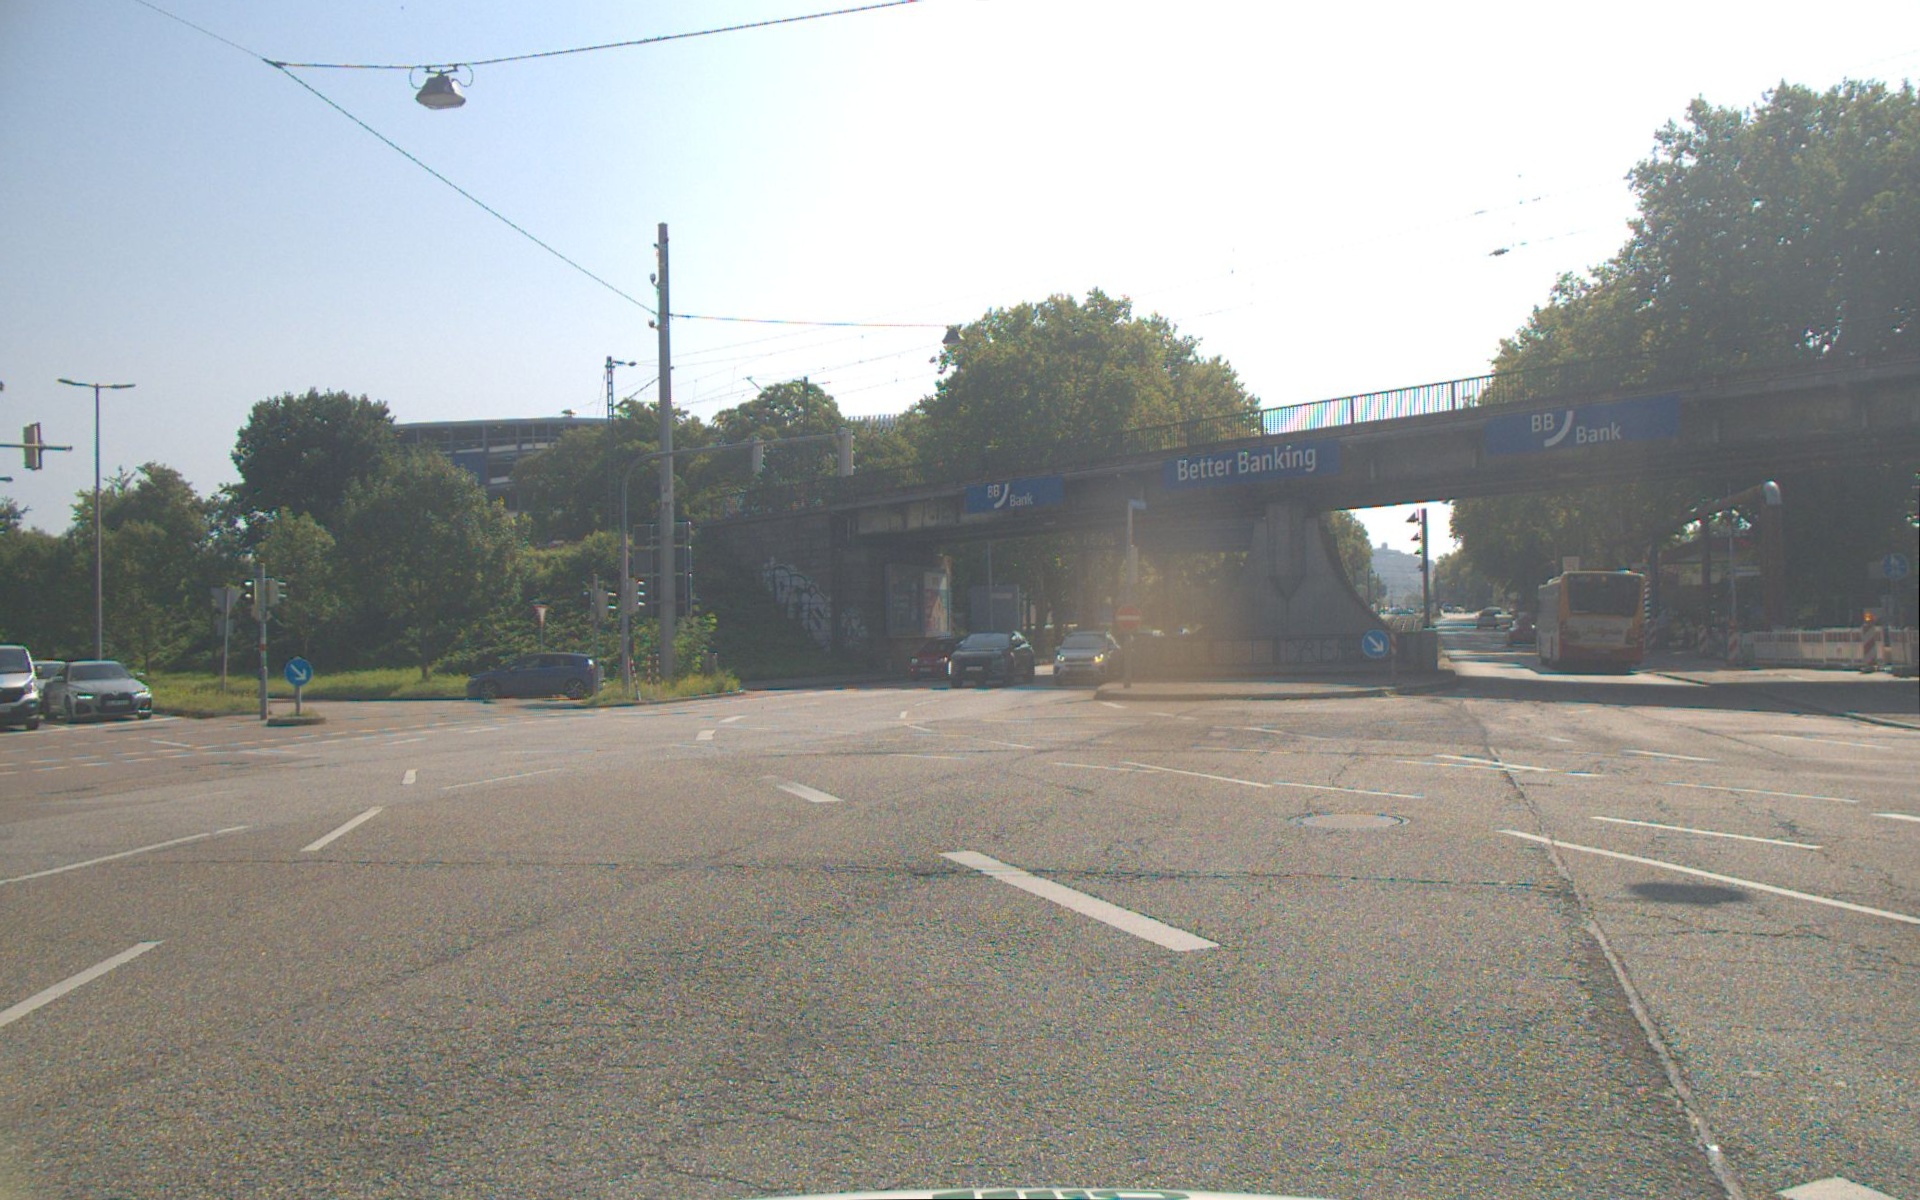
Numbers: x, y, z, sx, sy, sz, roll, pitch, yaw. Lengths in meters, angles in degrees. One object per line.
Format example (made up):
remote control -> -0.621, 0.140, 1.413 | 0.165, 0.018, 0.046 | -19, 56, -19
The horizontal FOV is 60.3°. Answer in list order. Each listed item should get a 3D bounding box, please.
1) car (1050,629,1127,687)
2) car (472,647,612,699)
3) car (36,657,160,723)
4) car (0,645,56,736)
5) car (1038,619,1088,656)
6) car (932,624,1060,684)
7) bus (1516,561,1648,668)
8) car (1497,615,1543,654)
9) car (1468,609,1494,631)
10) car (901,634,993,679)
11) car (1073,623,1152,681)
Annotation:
car -> 3.756, 1.657, 47.846 | 1.684, 1.565, 3.699 | -2, -1, 12
car -> -12.970, 2.252, 51.463 | 3.908, 1.453, 1.785 | 1, -1, -3
car -> -21.678, 2.233, 41.496 | 1.824, 1.468, 4.539 | -3, 0, -39
car -> -22.743, 2.064, 38.613 | 1.915, 1.992, 5.137 | 0, -1, -40
car -> 5.493, 1.953, 87.540 | 1.951, 1.881, 4.003 | 1, -1, 14
car -> 1.130, 1.605, 49.851 | 1.866, 1.645, 4.464 | -3, -2, 31
bus -> 21.059, 0.503, 56.662 | 3.068, 3.168, 12.297 | 2, 0, 16
car -> 30.366, 1.850, 89.742 | 1.951, 2.049, 4.003 | 1, -1, 13
car -> 48.832, 1.868, 155.078 | 1.951, 2.049, 4.003 | 1, -1, 13
car -> -0.430, 1.980, 58.936 | 1.609, 1.493, 3.545 | 1, -1, 31
car -> 4.886, 1.614, 52.395 | 1.951, 1.600, 4.352 | -1, 1, 12
